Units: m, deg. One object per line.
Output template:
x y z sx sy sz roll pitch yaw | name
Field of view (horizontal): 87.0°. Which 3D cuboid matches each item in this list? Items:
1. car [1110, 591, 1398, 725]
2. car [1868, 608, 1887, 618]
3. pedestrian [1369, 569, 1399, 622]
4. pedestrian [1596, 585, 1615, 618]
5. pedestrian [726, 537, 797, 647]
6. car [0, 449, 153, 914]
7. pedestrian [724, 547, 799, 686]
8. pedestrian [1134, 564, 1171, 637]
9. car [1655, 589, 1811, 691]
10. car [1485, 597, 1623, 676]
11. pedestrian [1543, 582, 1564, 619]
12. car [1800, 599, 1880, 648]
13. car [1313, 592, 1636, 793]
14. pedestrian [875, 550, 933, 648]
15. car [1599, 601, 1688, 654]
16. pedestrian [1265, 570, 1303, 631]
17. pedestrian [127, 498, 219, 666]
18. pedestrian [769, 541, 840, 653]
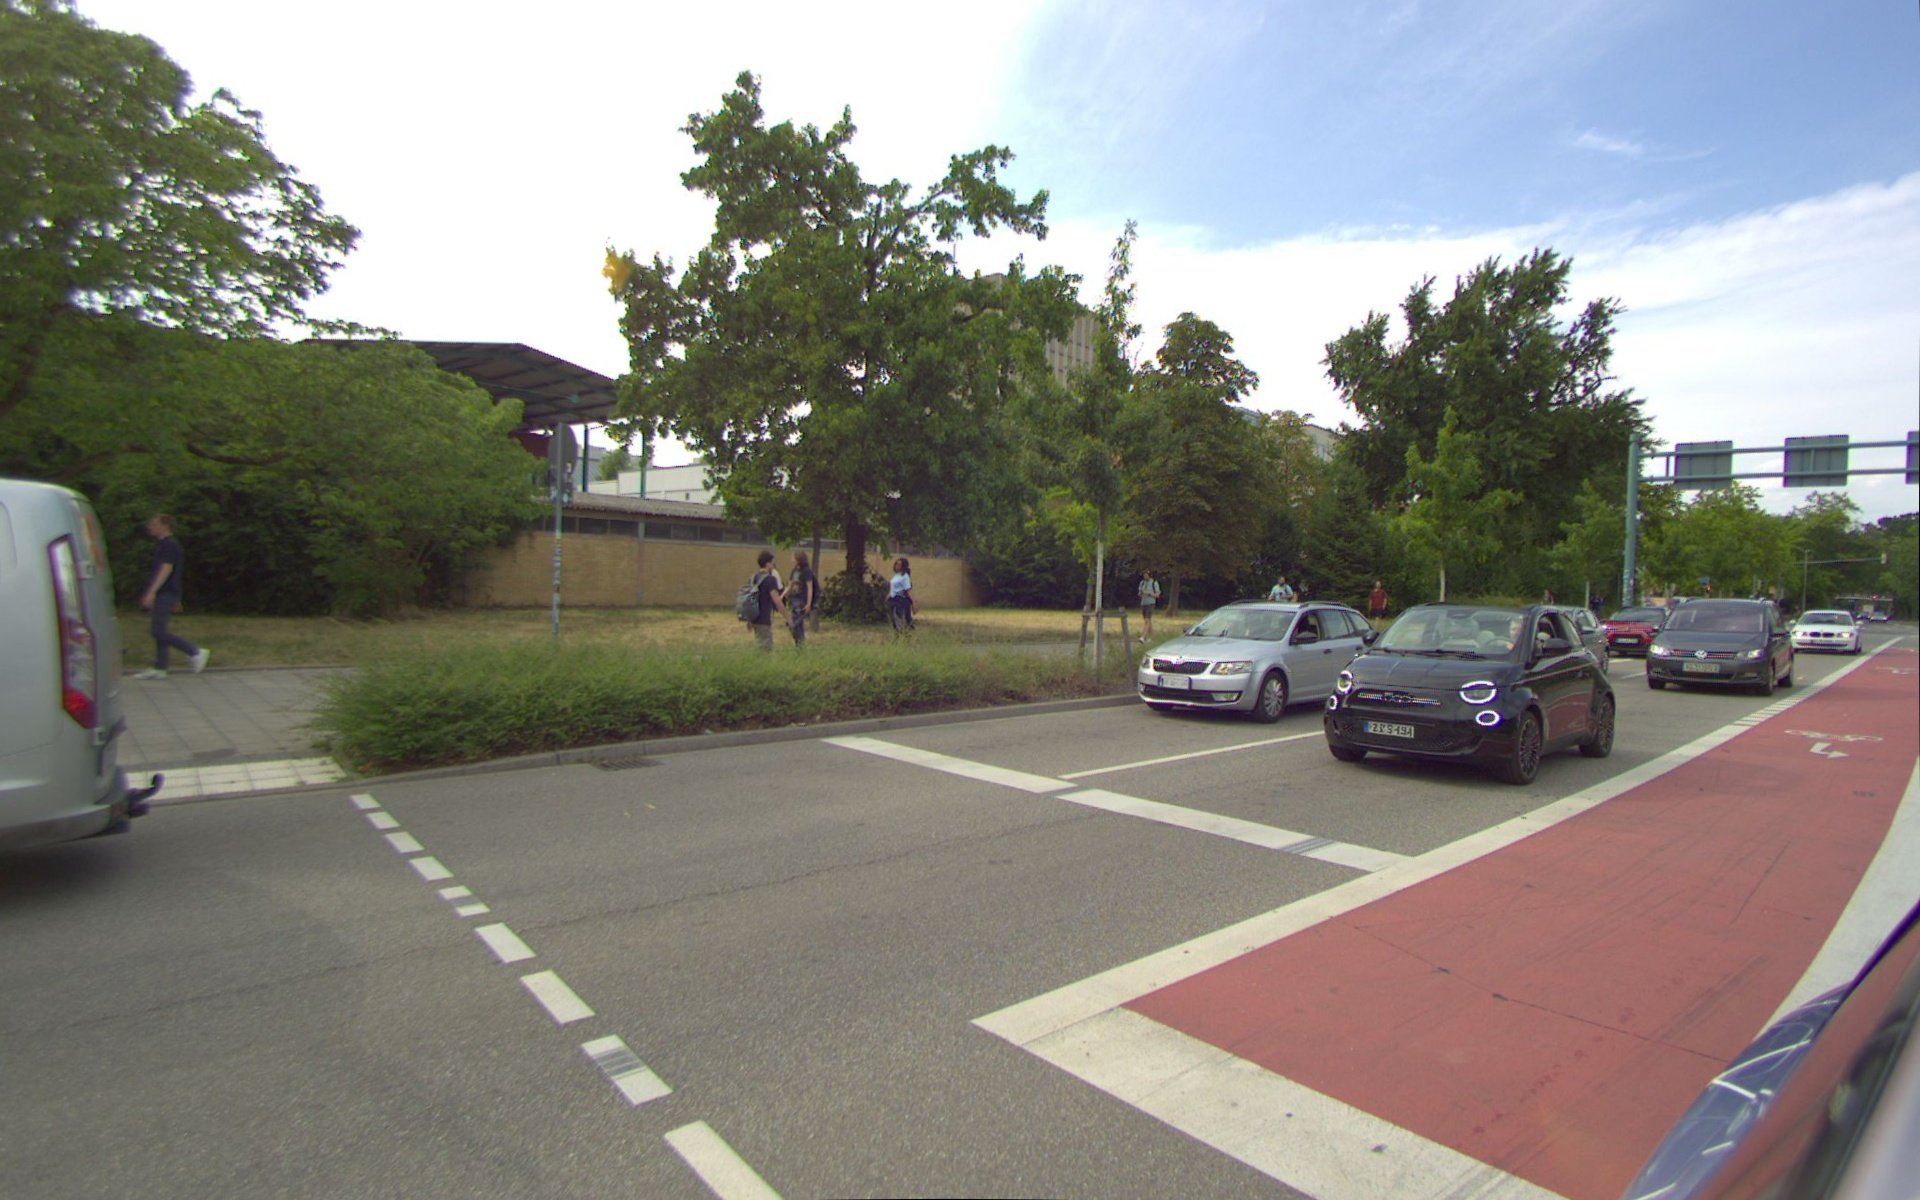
4.072 0.633 13.552 1.820 1.493 4.455 0 0 45 | car
161.206 2.313 177.756 3.931 1.594 1.997 0 0 -41 | car
14.068 -0.152 33.553 0.684 1.733 0.712 0 0 -45 | pedestrian
34.239 0.053 53.704 0.684 1.733 0.712 0 0 -45 | pedestrian
-3.246 -0.127 16.573 0.832 1.733 0.791 0 0 30 | pedestrian
-6.224 0.356 3.662 5.114 1.984 1.822 0 0 -41 | car
-2.575 0.205 13.120 0.681 1.733 0.733 0 0 -42 | pedestrian
4.646 0.006 24.431 0.542 1.716 0.684 4 3 42 | pedestrian
14.509 0.644 18.898 1.755 1.671 4.610 0 0 45 | car
12.772 0.705 21.670 1.666 1.508 3.813 0 0 45 | car
27.610 0.018 47.091 0.684 1.733 0.712 0 0 -45 | pedestrian
29.247 0.736 33.594 1.755 1.476 4.155 0 0 45 | car
4.903 0.689 9.480 3.384 1.508 1.668 0 1 -43 | car
-1.018 -0.023 18.336 0.712 1.733 0.788 0 0 42 | pedestrian
20.143 0.754 29.768 1.665 1.433 3.403 0 0 43 | car
9.417 0.009 29.394 0.839 1.733 0.684 0 0 42 | pedestrian
-9.016 -0.204 11.594 0.786 1.831 0.838 0 0 -42 | pedestrian
-2.480 -0.048 16.179 0.832 1.733 0.791 0 0 30 | pedestrian
